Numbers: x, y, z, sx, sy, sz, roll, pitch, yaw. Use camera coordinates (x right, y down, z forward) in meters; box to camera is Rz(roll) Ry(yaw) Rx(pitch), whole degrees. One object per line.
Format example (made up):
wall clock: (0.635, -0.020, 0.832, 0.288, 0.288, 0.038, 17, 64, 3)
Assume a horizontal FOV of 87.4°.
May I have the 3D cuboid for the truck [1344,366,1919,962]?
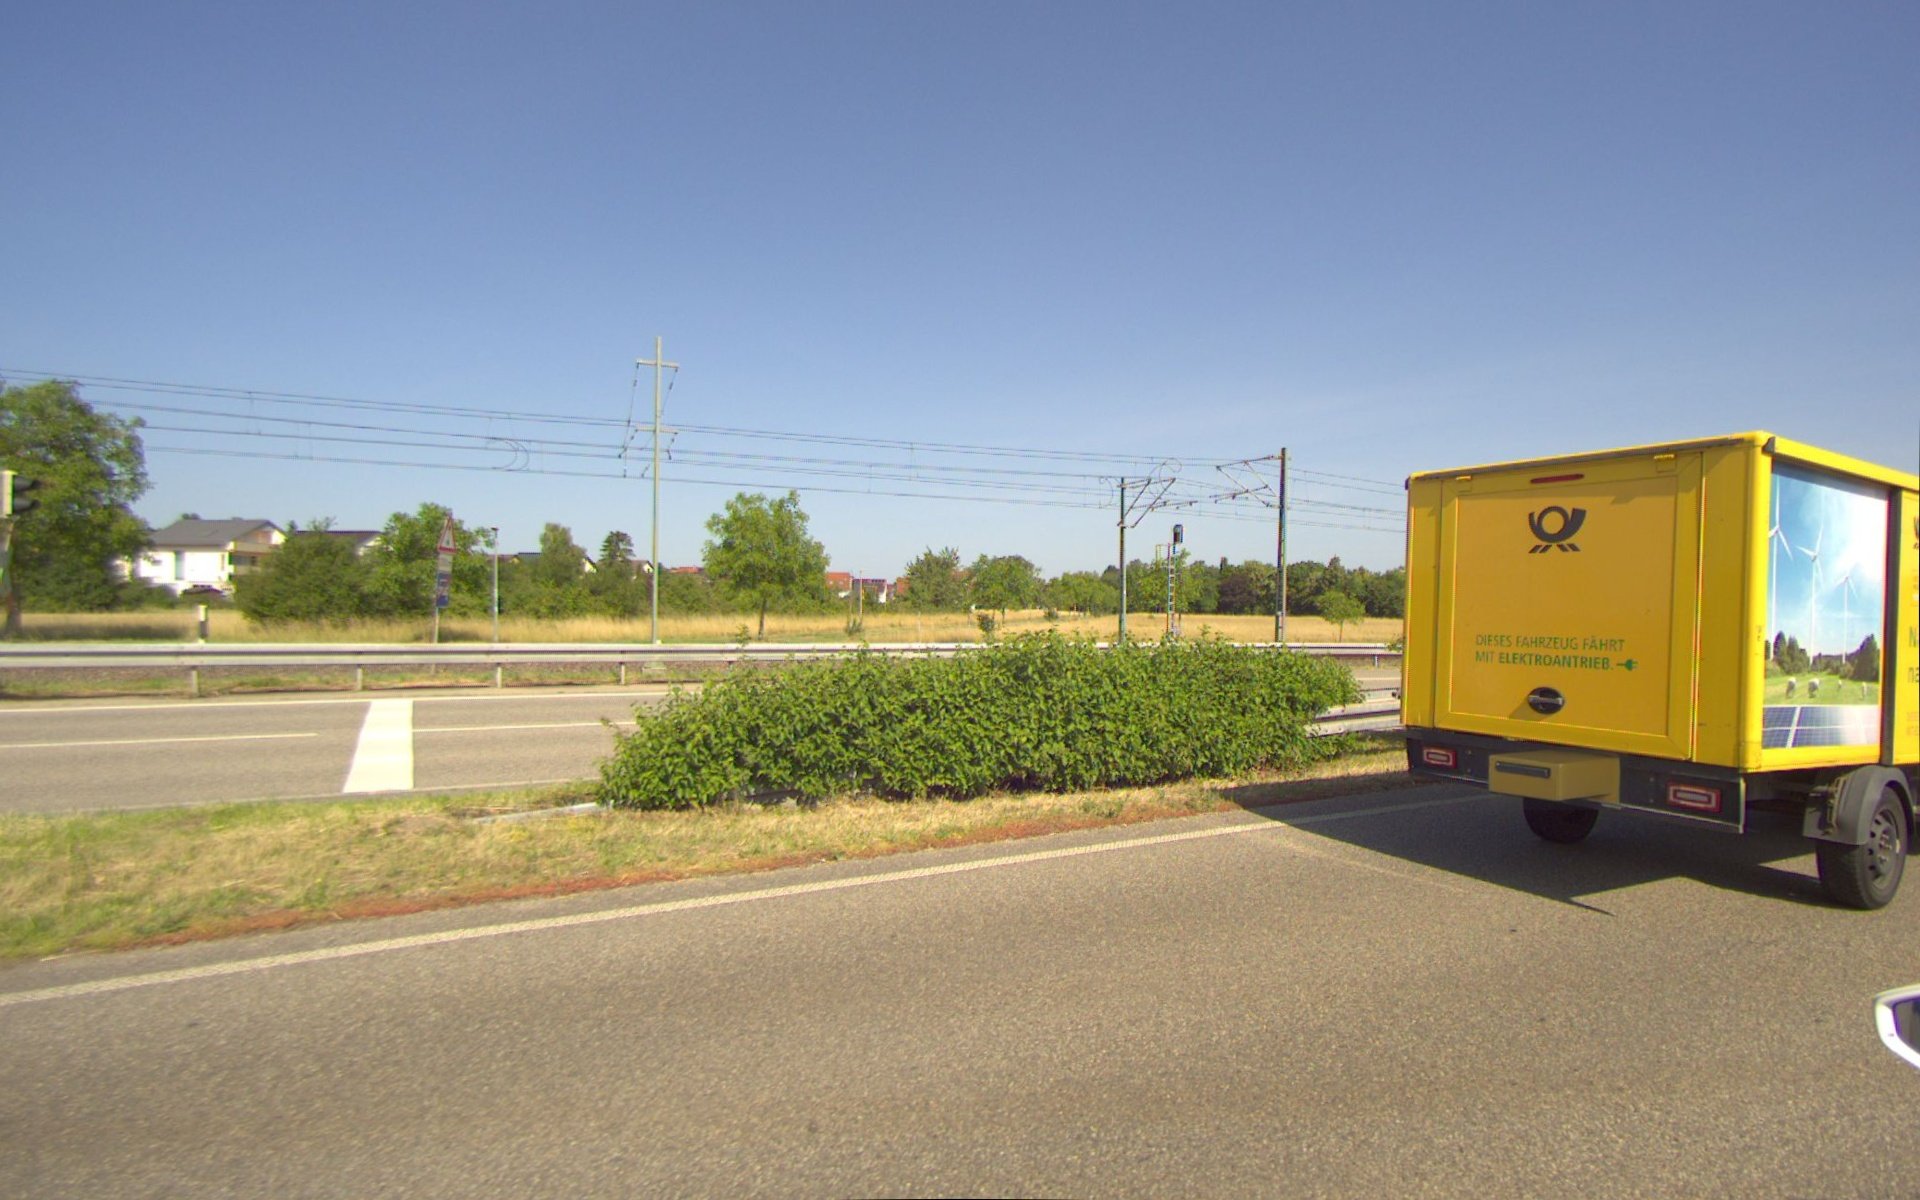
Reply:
truck: (5.346, 0.324, 6.614, 5.848, 2.490, 2.101, 1, -1, -31)
